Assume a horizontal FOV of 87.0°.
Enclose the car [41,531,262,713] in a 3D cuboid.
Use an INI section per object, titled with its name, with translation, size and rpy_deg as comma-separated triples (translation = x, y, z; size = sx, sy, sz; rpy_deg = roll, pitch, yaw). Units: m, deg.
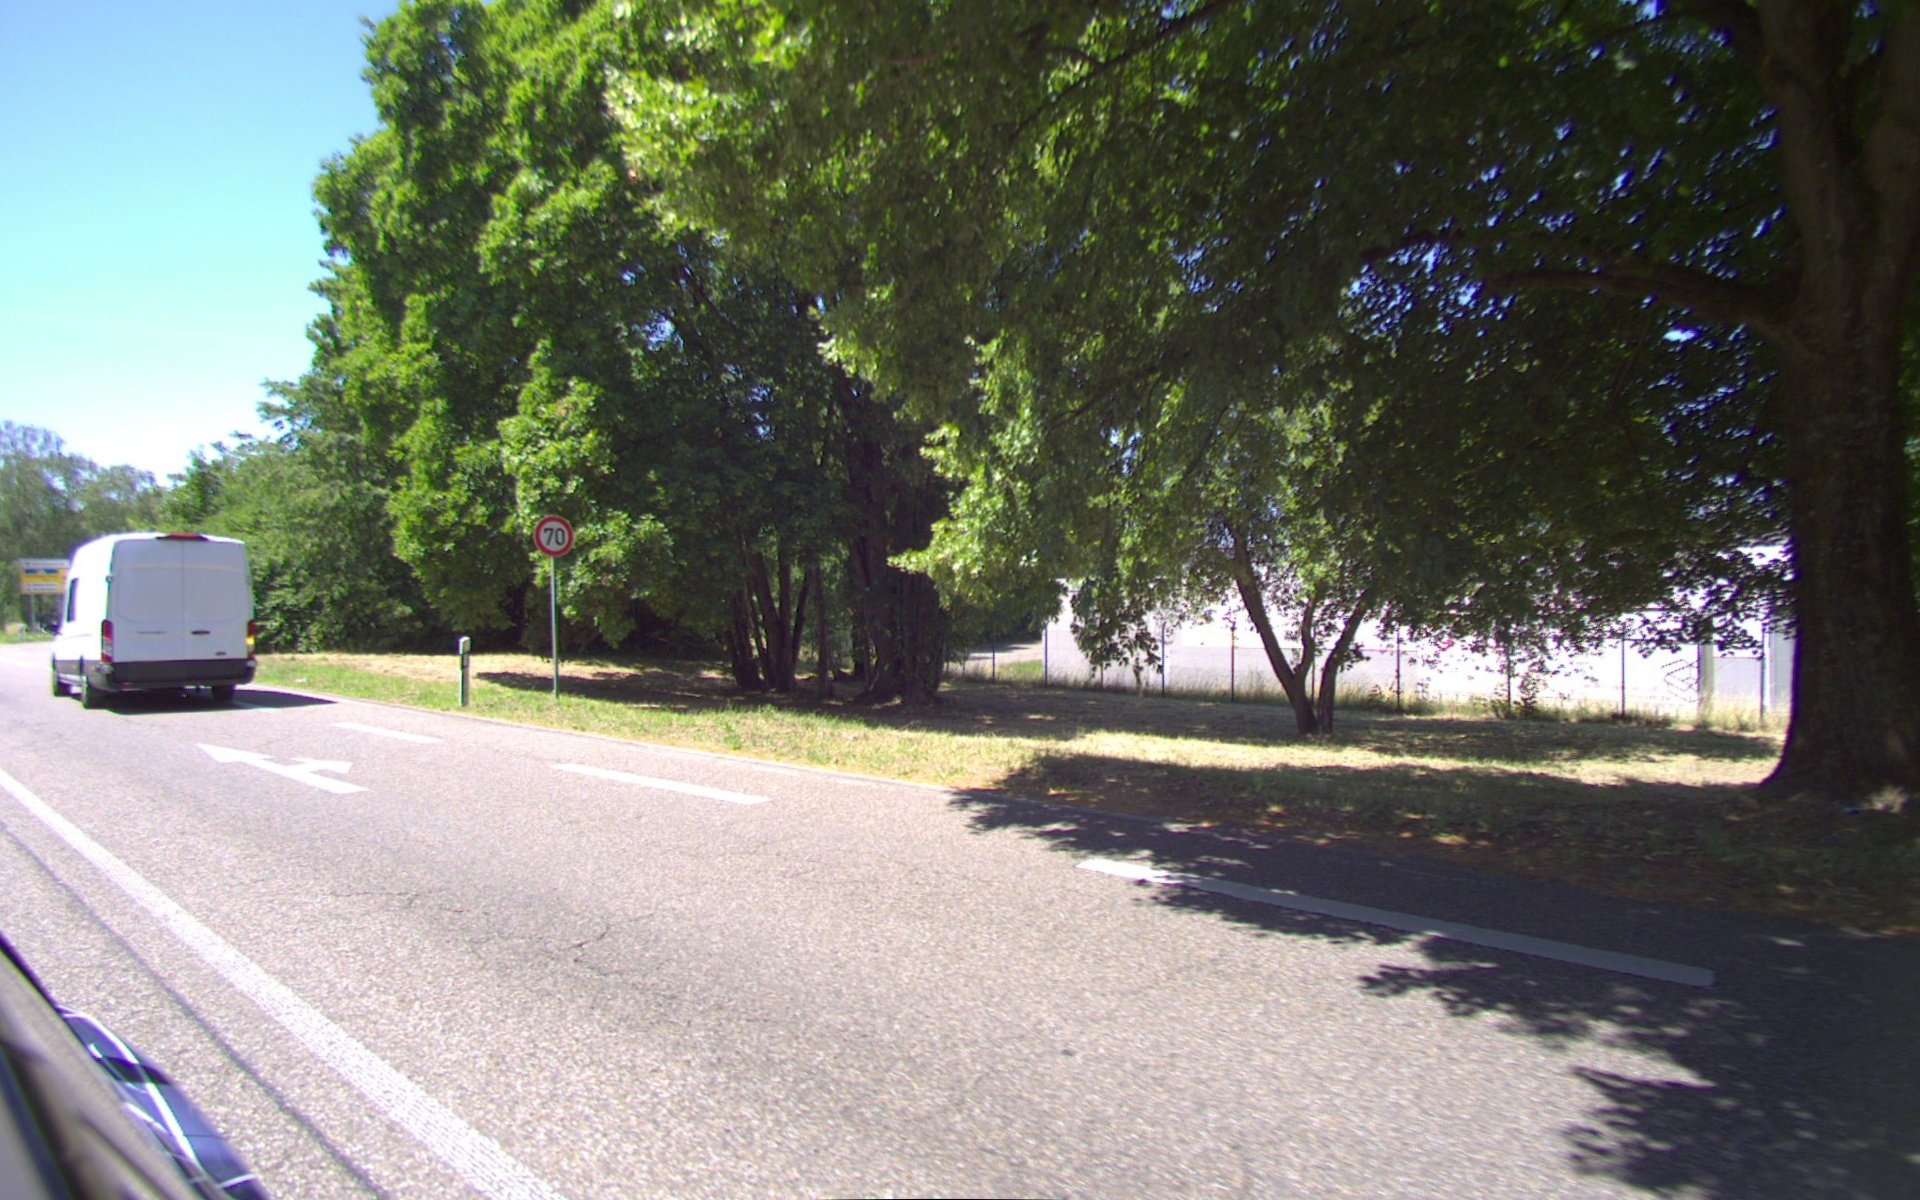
[car]
translation = -14.342, 0.349, 17.748
size = 6.783, 2.647, 2.051
rpy_deg = -1, -1, 43
